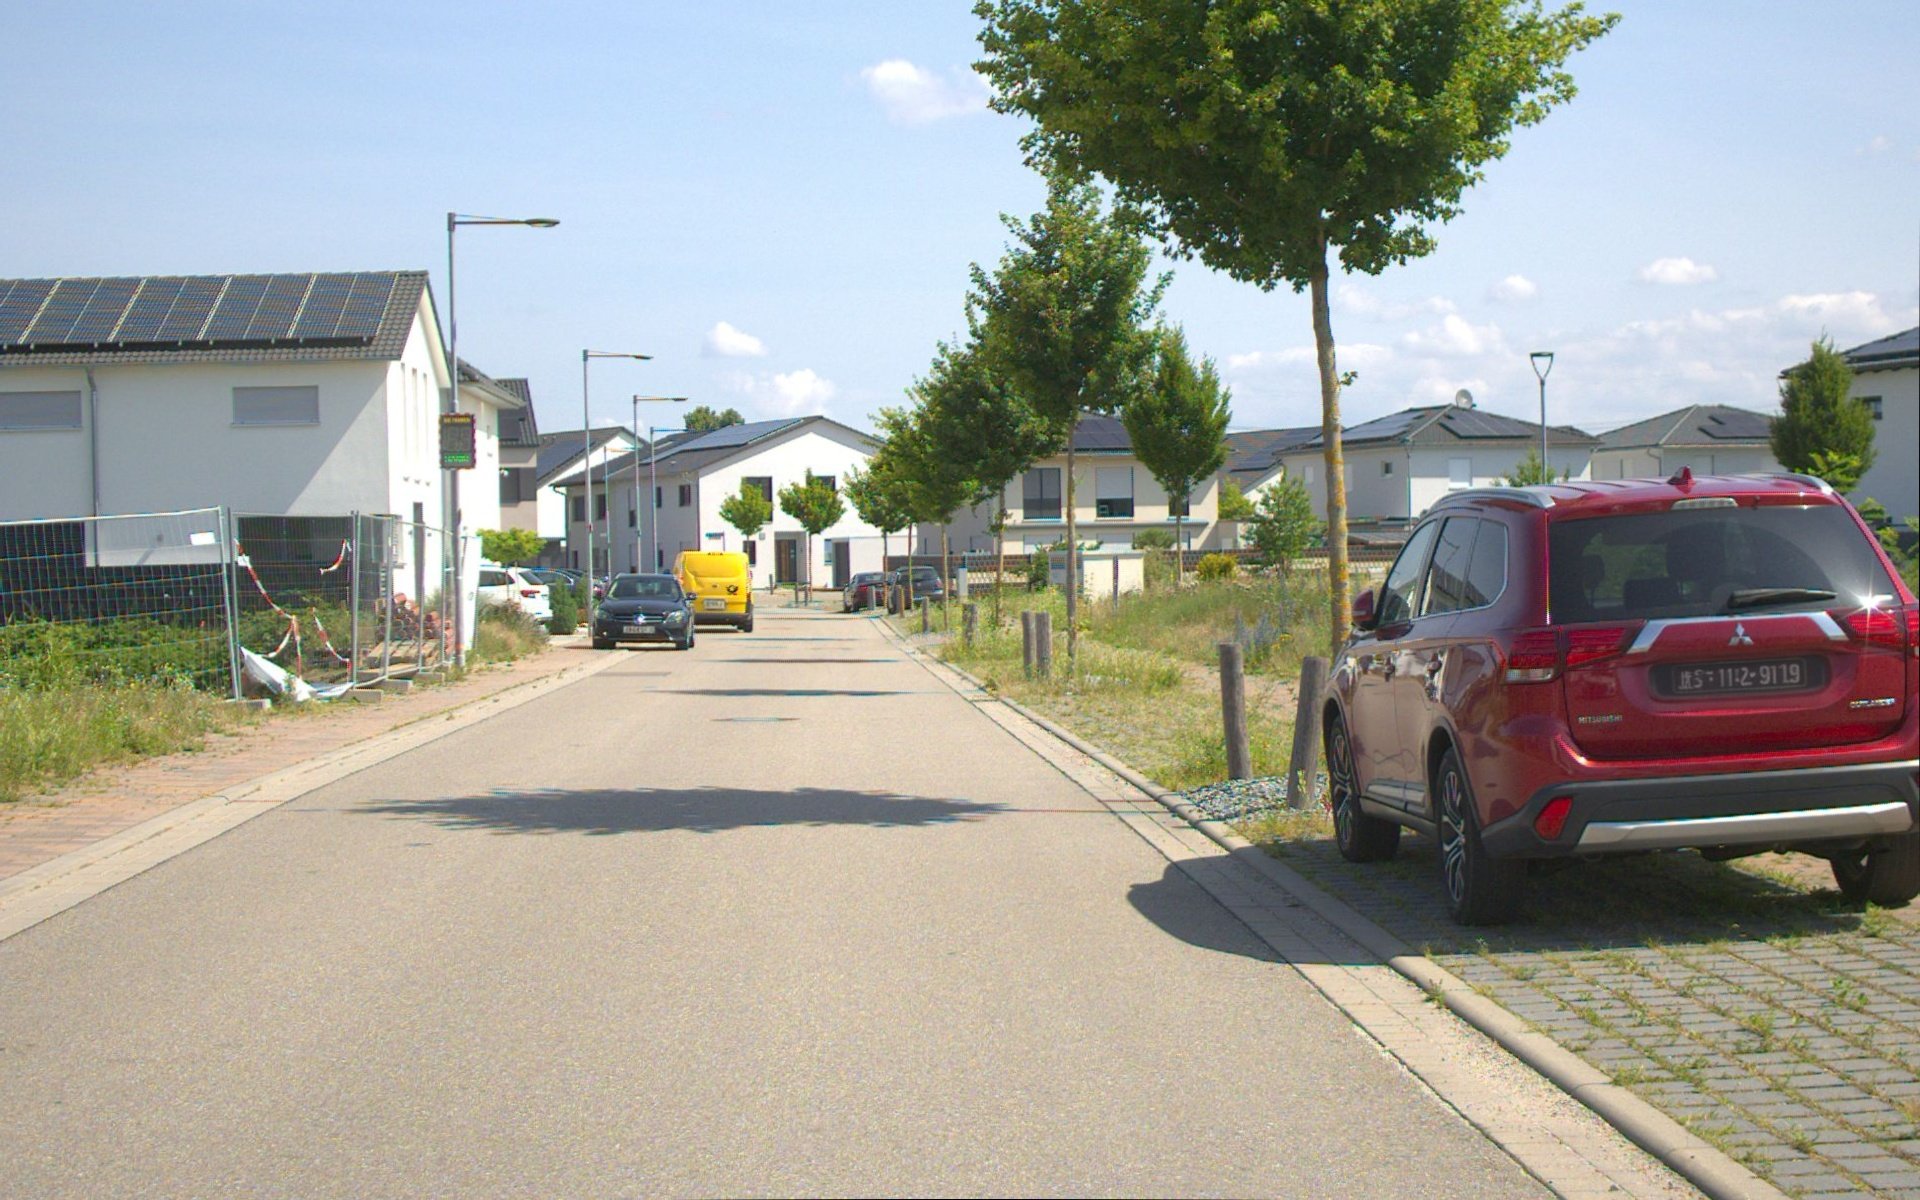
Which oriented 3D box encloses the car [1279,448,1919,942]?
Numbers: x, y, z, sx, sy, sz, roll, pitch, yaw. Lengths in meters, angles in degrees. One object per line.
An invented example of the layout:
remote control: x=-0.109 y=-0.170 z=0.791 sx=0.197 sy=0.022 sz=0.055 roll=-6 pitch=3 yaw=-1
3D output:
car: x=2.556 y=0.283 z=14.216 sx=1.776 sy=1.657 sz=4.434 roll=-2 pitch=1 yaw=-3

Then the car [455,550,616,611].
car: x=-11.932 y=-0.549 z=96.610 sx=4.159 sy=1.499 sz=1.816 roll=3 pitch=0 yaw=-18

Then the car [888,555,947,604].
car: x=-1.332 y=-0.607 z=106.303 sx=1.639 sy=1.398 sz=3.811 roll=-1 pitch=-1 yaw=-3

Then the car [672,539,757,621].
car: x=-6.171 y=-0.474 z=86.059 sx=1.941 sy=1.975 sz=4.218 roll=-1 pitch=0 yaw=-6

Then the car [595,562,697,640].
car: x=-5.994 y=0.001 z=65.931 sx=1.745 sy=1.400 sz=4.160 roll=1 pitch=1 yaw=-3

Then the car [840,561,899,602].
car: x=-3.293 y=-0.656 z=124.865 sx=1.627 sy=1.318 sz=3.834 roll=-1 pitch=-1 yaw=-9

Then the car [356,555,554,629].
car: x=-11.181 y=-0.192 z=76.248 sx=4.069 sy=1.576 sz=1.784 roll=0 pitch=1 yaw=4
